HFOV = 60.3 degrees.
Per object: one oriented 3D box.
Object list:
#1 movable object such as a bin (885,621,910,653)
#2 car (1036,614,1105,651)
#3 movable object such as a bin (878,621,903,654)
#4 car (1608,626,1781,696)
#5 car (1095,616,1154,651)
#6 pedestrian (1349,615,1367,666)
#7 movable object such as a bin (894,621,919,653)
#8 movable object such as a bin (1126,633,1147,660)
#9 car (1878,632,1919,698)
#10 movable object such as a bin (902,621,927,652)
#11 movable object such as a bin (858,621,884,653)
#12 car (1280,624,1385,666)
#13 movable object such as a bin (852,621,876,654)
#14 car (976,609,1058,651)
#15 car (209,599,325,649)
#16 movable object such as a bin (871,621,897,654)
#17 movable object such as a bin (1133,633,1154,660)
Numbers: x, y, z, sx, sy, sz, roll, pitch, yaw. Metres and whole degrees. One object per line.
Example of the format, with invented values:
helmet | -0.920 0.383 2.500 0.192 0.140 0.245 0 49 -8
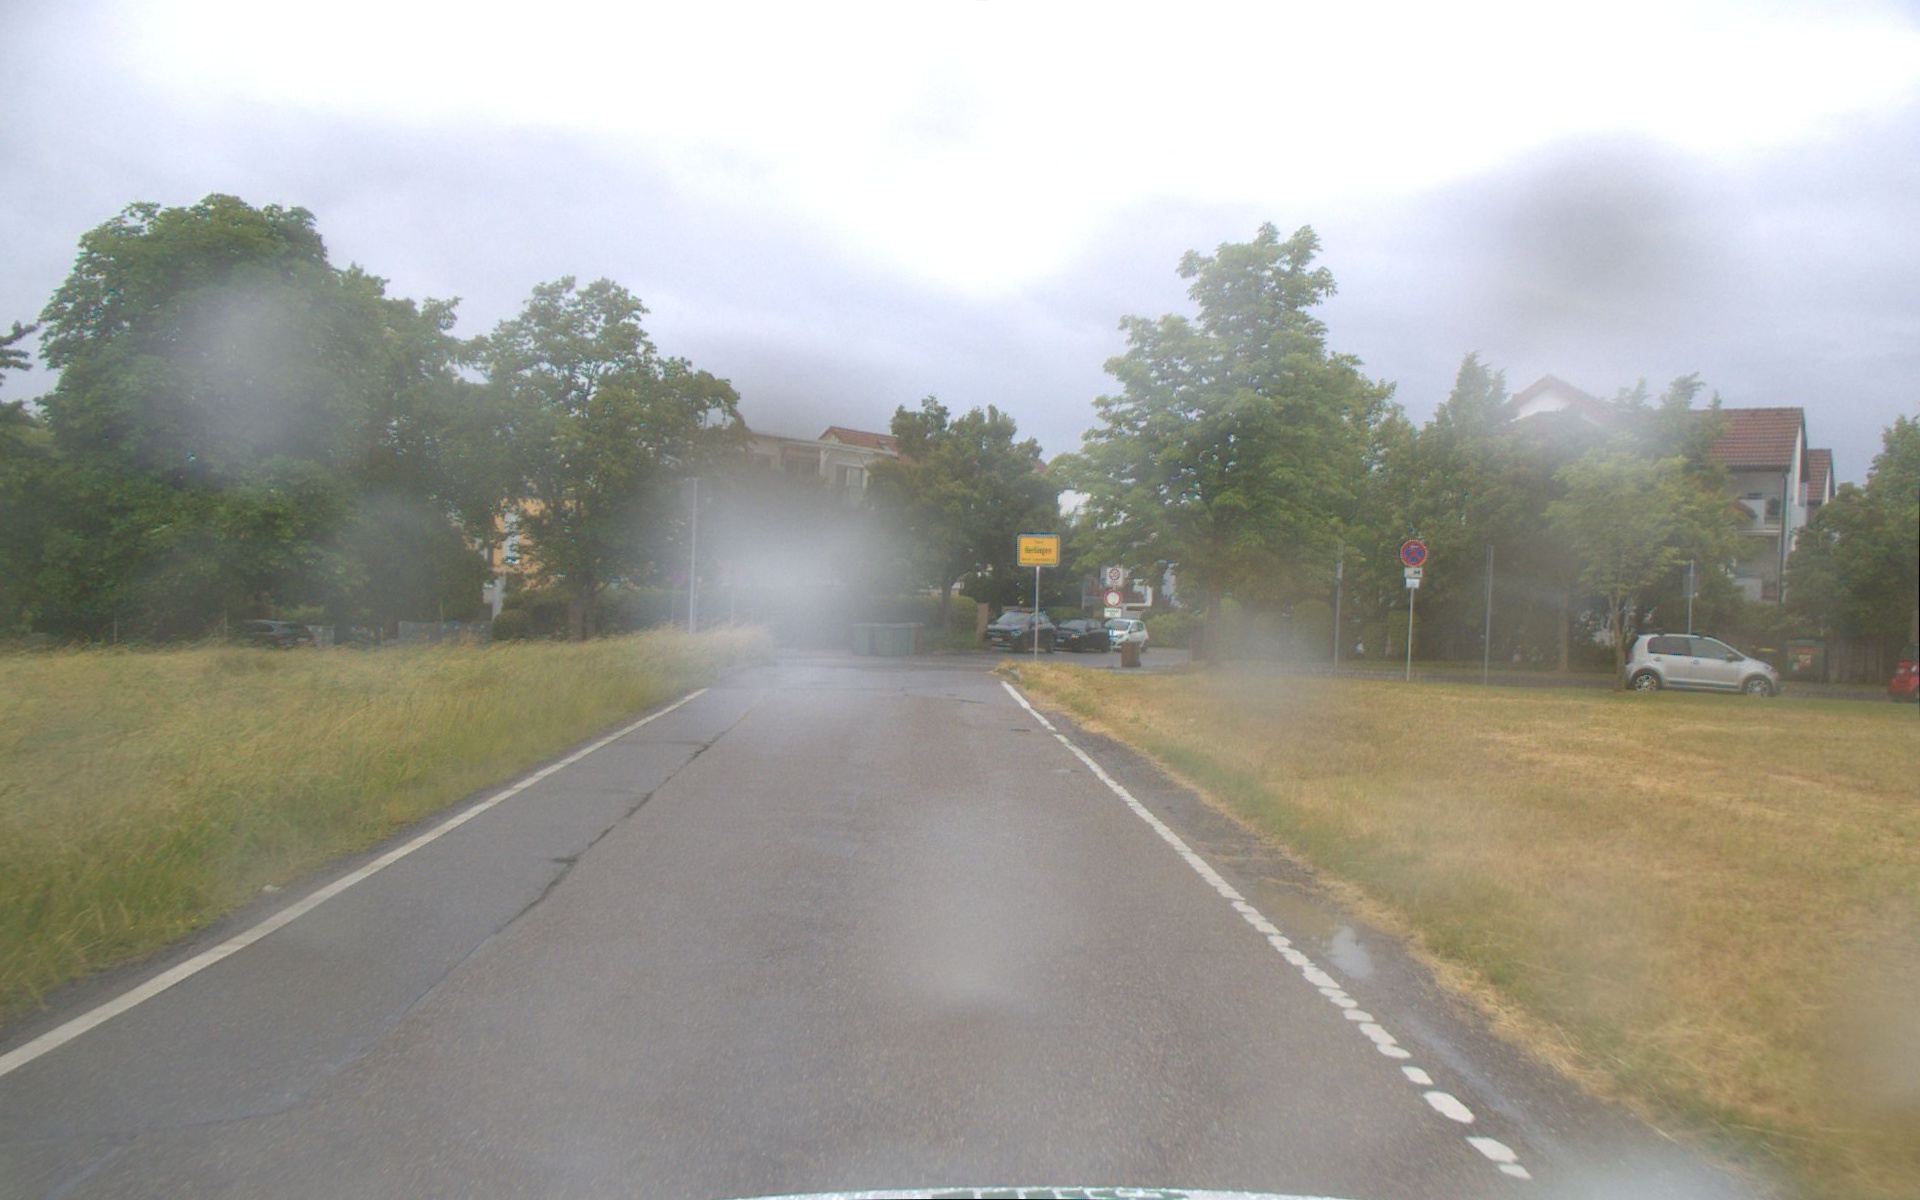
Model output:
movable object such as a bin | -2.133 1.277 56.883 0.680 1.086 0.579 1 0 19
car | 4.866 1.436 72.412 1.604 1.433 3.599 4 0 28
movable object such as a bin | -2.361 1.272 56.289 0.680 1.093 0.544 1 0 19
car | 17.147 1.403 38.756 3.468 1.505 1.681 1 -1 16
car | 7.655 1.570 76.949 1.483 1.502 3.267 4 0 29
pedestrian | 16.210 1.640 67.371 0.547 2.049 0.523 1 -1 30
movable object such as a bin | -1.848 1.289 57.455 0.680 1.073 0.605 1 0 19
movable object such as a bin | 6.358 1.667 59.632 0.560 0.947 0.529 2 -1 32
car | 22.614 1.513 37.406 2.939 1.461 1.555 2 -1 16
movable object such as a bin | -1.603 1.288 58.124 0.680 1.073 0.605 1 0 19
movable object such as a bin | -3.041 1.255 56.544 0.680 1.091 0.598 1 0 19
car | 15.540 1.876 69.109 3.918 1.693 1.773 0 -1 34
movable object such as a bin | -3.248 1.256 55.945 0.651 1.092 0.544 1 0 19
car | 2.353 1.223 67.159 1.741 1.545 4.133 4 0 26
car | -23.413 0.808 55.844 3.614 1.579 1.689 1 -2 28
movable object such as a bin | -2.559 1.268 55.712 0.680 1.093 0.602 1 0 19
movable object such as a bin | 6.663 1.686 60.132 0.560 0.947 0.529 2 -1 32
